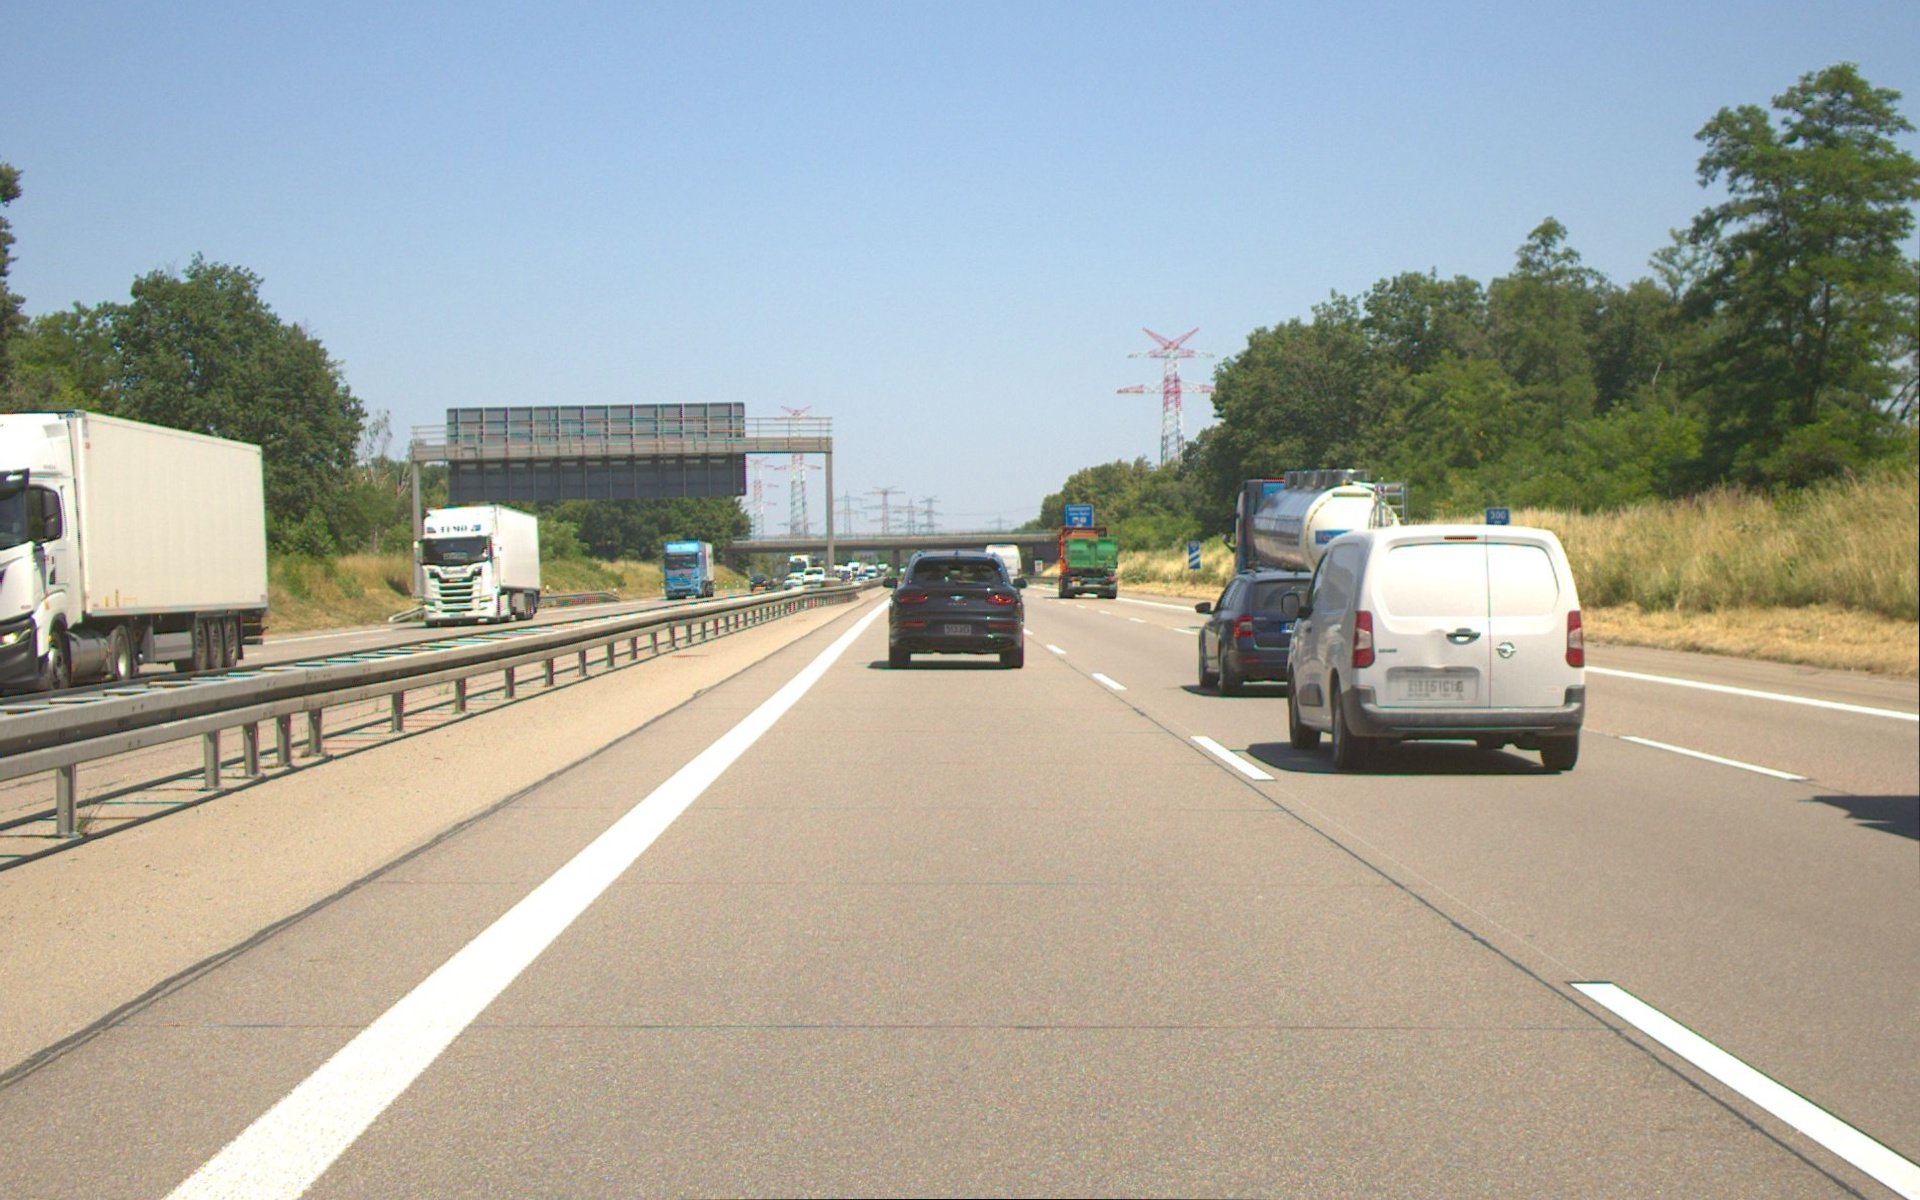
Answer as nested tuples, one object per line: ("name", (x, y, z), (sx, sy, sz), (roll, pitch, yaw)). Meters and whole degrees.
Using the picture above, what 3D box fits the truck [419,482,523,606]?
("truck", (-17.159, -1.968, 121.015), (2.702, 4.172, 6.189), (-2, 1, -1))

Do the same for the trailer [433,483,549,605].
("trailer", (-17.300, -2.063, 127.462), (2.702, 4.172, 12.064), (-2, 1, -1))

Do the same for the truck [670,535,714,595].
("truck", (-18.978, -2.509, 243.738), (2.702, 4.172, 4.723), (-1, 1, -1))

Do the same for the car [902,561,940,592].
("car", (-1.590, -0.962, 139.051), (1.524, 1.248, 3.626), (0, 1, -1))

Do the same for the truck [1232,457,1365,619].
("truck", (8.226, -1.492, 83.950), (2.682, 3.824, 4.444), (1, 1, -1))

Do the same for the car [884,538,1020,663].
("car", (-0.179, -0.045, 52.263), (1.940, 1.746, 5.814), (0, 1, -1))

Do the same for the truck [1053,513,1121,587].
("truck", (6.609, -2.605, 180.067), (2.989, 3.716, 10.090), (1, 1, -1))

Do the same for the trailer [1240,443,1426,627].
("trailer", (8.317, -1.430, 78.221), (2.682, 3.824, 12.011), (1, 1, -1))

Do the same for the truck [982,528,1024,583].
("truck", (2.286, -2.403, 186.032), (2.060, 2.904, 7.004), (0, 1, -1))

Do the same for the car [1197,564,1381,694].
("car", (3.890, 0.308, 41.199), (1.774, 1.467, 3.873), (0, 1, -1))

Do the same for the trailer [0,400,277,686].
("trailer", (-13.547, -0.876, 55.089), (2.668, 3.976, 13.132), (-2, 1, -1))

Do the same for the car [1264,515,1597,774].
("car", (3.561, 0.284, 26.896), (1.814, 1.821, 5.111), (0, 1, -1))

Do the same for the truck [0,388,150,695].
("truck", (-13.396, -0.762, 47.919), (2.668, 3.976, 6.342), (-2, 1, -1))
